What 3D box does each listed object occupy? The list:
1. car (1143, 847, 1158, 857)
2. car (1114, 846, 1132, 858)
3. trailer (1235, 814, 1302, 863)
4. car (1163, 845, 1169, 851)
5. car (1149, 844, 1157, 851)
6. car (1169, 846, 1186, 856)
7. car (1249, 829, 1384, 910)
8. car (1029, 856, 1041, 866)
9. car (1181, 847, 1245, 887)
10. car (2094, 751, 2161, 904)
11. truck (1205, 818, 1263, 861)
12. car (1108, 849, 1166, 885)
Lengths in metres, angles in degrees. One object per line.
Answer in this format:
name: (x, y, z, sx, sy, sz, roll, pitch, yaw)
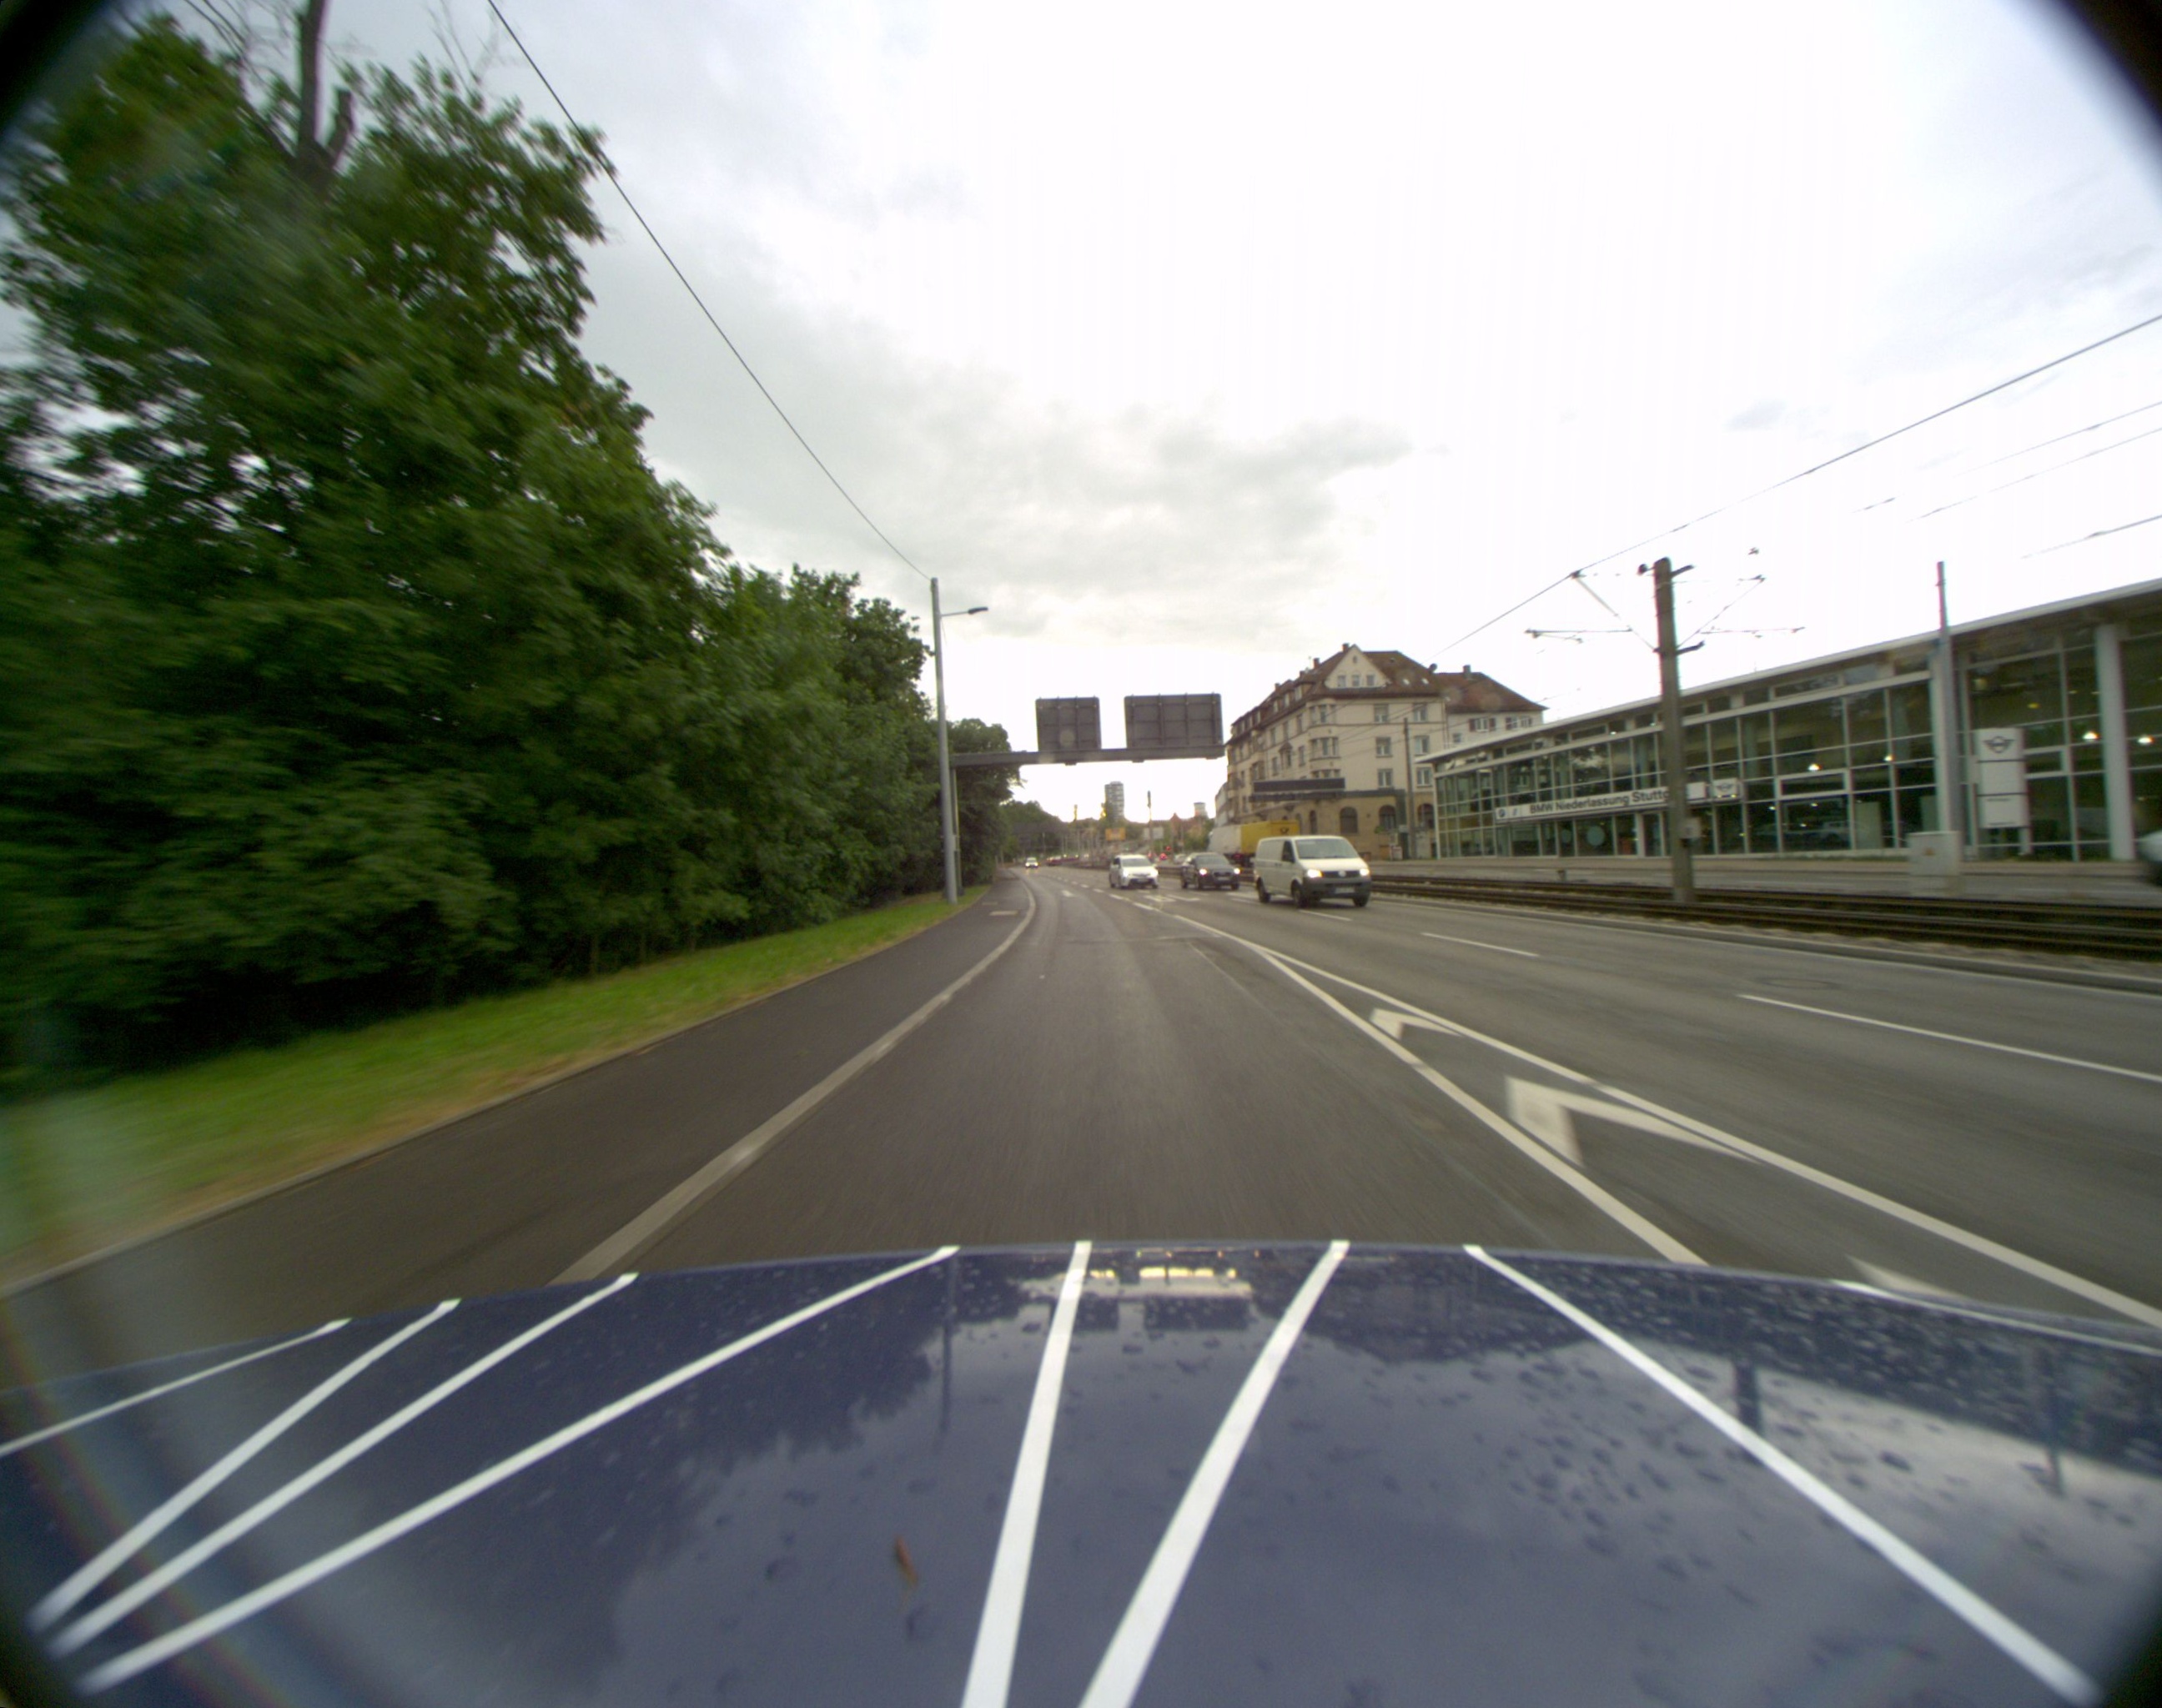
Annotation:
car: (11.470, -0.325, 125.550, 1.611, 1.425, 4.329, -3, 0, -6)
car: (6.976, -0.324, 126.963, 2.000, 1.863, 5.190, -3, 0, -6)
trailer: (16.567, -1.314, 67.831, 2.691, 4.028, 9.077, -2, 0, -7)
car: (26.367, -1.792, 235.343, 1.835, 1.787, 4.218, -1, 0, 8)
car: (23.815, -2.182, 250.131, 2.336, 2.453, 7.029, -2, 1, 7)
car: (14.557, -0.377, 114.266, 1.685, 1.396, 3.849, -2, 0, -6)
car: (6.441, 0.387, 21.453, 1.915, 1.947, 4.715, -2, 0, -5)
car: (-7.504, 1.081, 123.105, 1.711, 1.585, 3.998, -3, 0, -6)
car: (5.633, 0.536, 32.937, 1.709, 1.564, 3.894, -2, 0, -6)
car: (19.617, -0.499, 10.715, 2.057, 2.583, 6.161, -3, 0, -7)
truck: (15.435, -1.373, 77.388, 2.691, 4.028, 10.136, -2, 0, -7)
car: (2.612, 0.607, 36.482, 1.983, 1.564, 4.316, -2, 0, -6)
